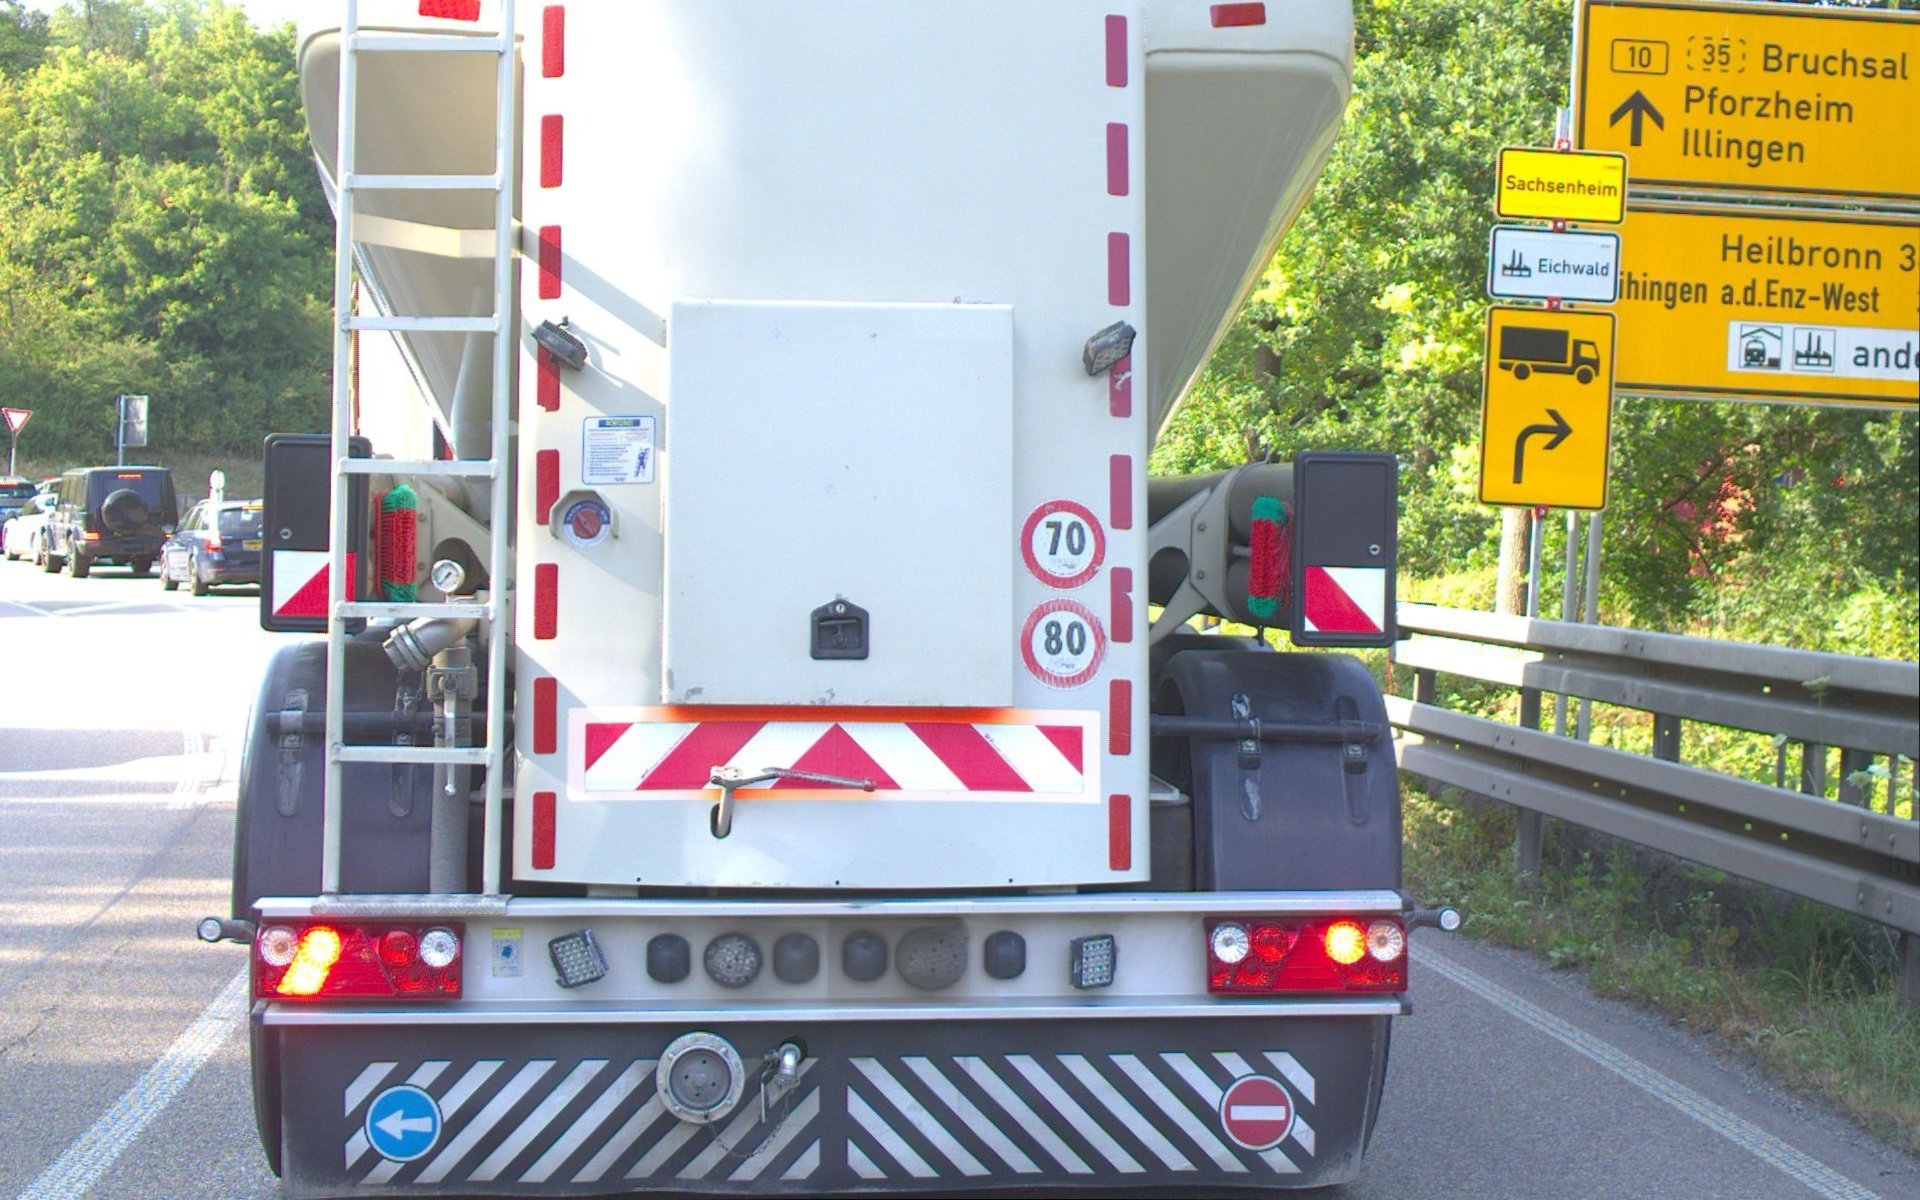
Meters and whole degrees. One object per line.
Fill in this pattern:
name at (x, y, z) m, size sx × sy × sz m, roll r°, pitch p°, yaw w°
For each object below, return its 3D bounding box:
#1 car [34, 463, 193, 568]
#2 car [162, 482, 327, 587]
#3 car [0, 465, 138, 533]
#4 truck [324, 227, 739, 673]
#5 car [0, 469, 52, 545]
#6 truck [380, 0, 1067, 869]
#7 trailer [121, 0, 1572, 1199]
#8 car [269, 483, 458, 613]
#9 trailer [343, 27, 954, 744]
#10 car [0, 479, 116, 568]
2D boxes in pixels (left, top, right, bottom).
car at (-15.404, -1.567, 62.451) m, size 1.956 × 1.845 × 4.001 m, roll -1°, pitch 3°, yaw -26°
car at (-11.219, -1.050, 53.749) m, size 1.867 × 1.559 × 4.001 m, roll -1°, pitch 2°, yaw -21°
car at (-29.372, -3.325, 113.156) m, size 3.988 × 2.007 × 1.999 m, roll 2°, pitch 1°, yaw -40°
truck at (-4.597, -1.453, 35.503) m, size 3.449 × 4.072 × 6.493 m, roll 2°, pitch 1°, yaw -13°
car at (-21.336, -2.087, 75.415) m, size 1.867 × 1.589 × 4.001 m, roll 2°, pitch 1°, yaw -27°
truck at (-1.341, -0.947, 17.313) m, size 2.823 × 4.021 × 5.896 m, roll 1°, pitch 1°, yaw -7°
trailer at (-0.697, -1.000, 11.677) m, size 2.886 × 4.439 × 9.608 m, roll 1°, pitch 1°, yaw -6°
car at (-7.913, -0.726, 45.332) m, size 1.867 × 1.622 × 4.002 m, roll -1°, pitch 2°, yaw -18°
trailer at (-3.122, -1.483, 28.562) m, size 3.544 × 4.497 × 12.988 m, roll 2°, pitch 1°, yaw -11°
car at (-18.710, -1.592, 70.314) m, size 1.867 × 1.677 × 4.001 m, roll 2°, pitch 1°, yaw -27°
